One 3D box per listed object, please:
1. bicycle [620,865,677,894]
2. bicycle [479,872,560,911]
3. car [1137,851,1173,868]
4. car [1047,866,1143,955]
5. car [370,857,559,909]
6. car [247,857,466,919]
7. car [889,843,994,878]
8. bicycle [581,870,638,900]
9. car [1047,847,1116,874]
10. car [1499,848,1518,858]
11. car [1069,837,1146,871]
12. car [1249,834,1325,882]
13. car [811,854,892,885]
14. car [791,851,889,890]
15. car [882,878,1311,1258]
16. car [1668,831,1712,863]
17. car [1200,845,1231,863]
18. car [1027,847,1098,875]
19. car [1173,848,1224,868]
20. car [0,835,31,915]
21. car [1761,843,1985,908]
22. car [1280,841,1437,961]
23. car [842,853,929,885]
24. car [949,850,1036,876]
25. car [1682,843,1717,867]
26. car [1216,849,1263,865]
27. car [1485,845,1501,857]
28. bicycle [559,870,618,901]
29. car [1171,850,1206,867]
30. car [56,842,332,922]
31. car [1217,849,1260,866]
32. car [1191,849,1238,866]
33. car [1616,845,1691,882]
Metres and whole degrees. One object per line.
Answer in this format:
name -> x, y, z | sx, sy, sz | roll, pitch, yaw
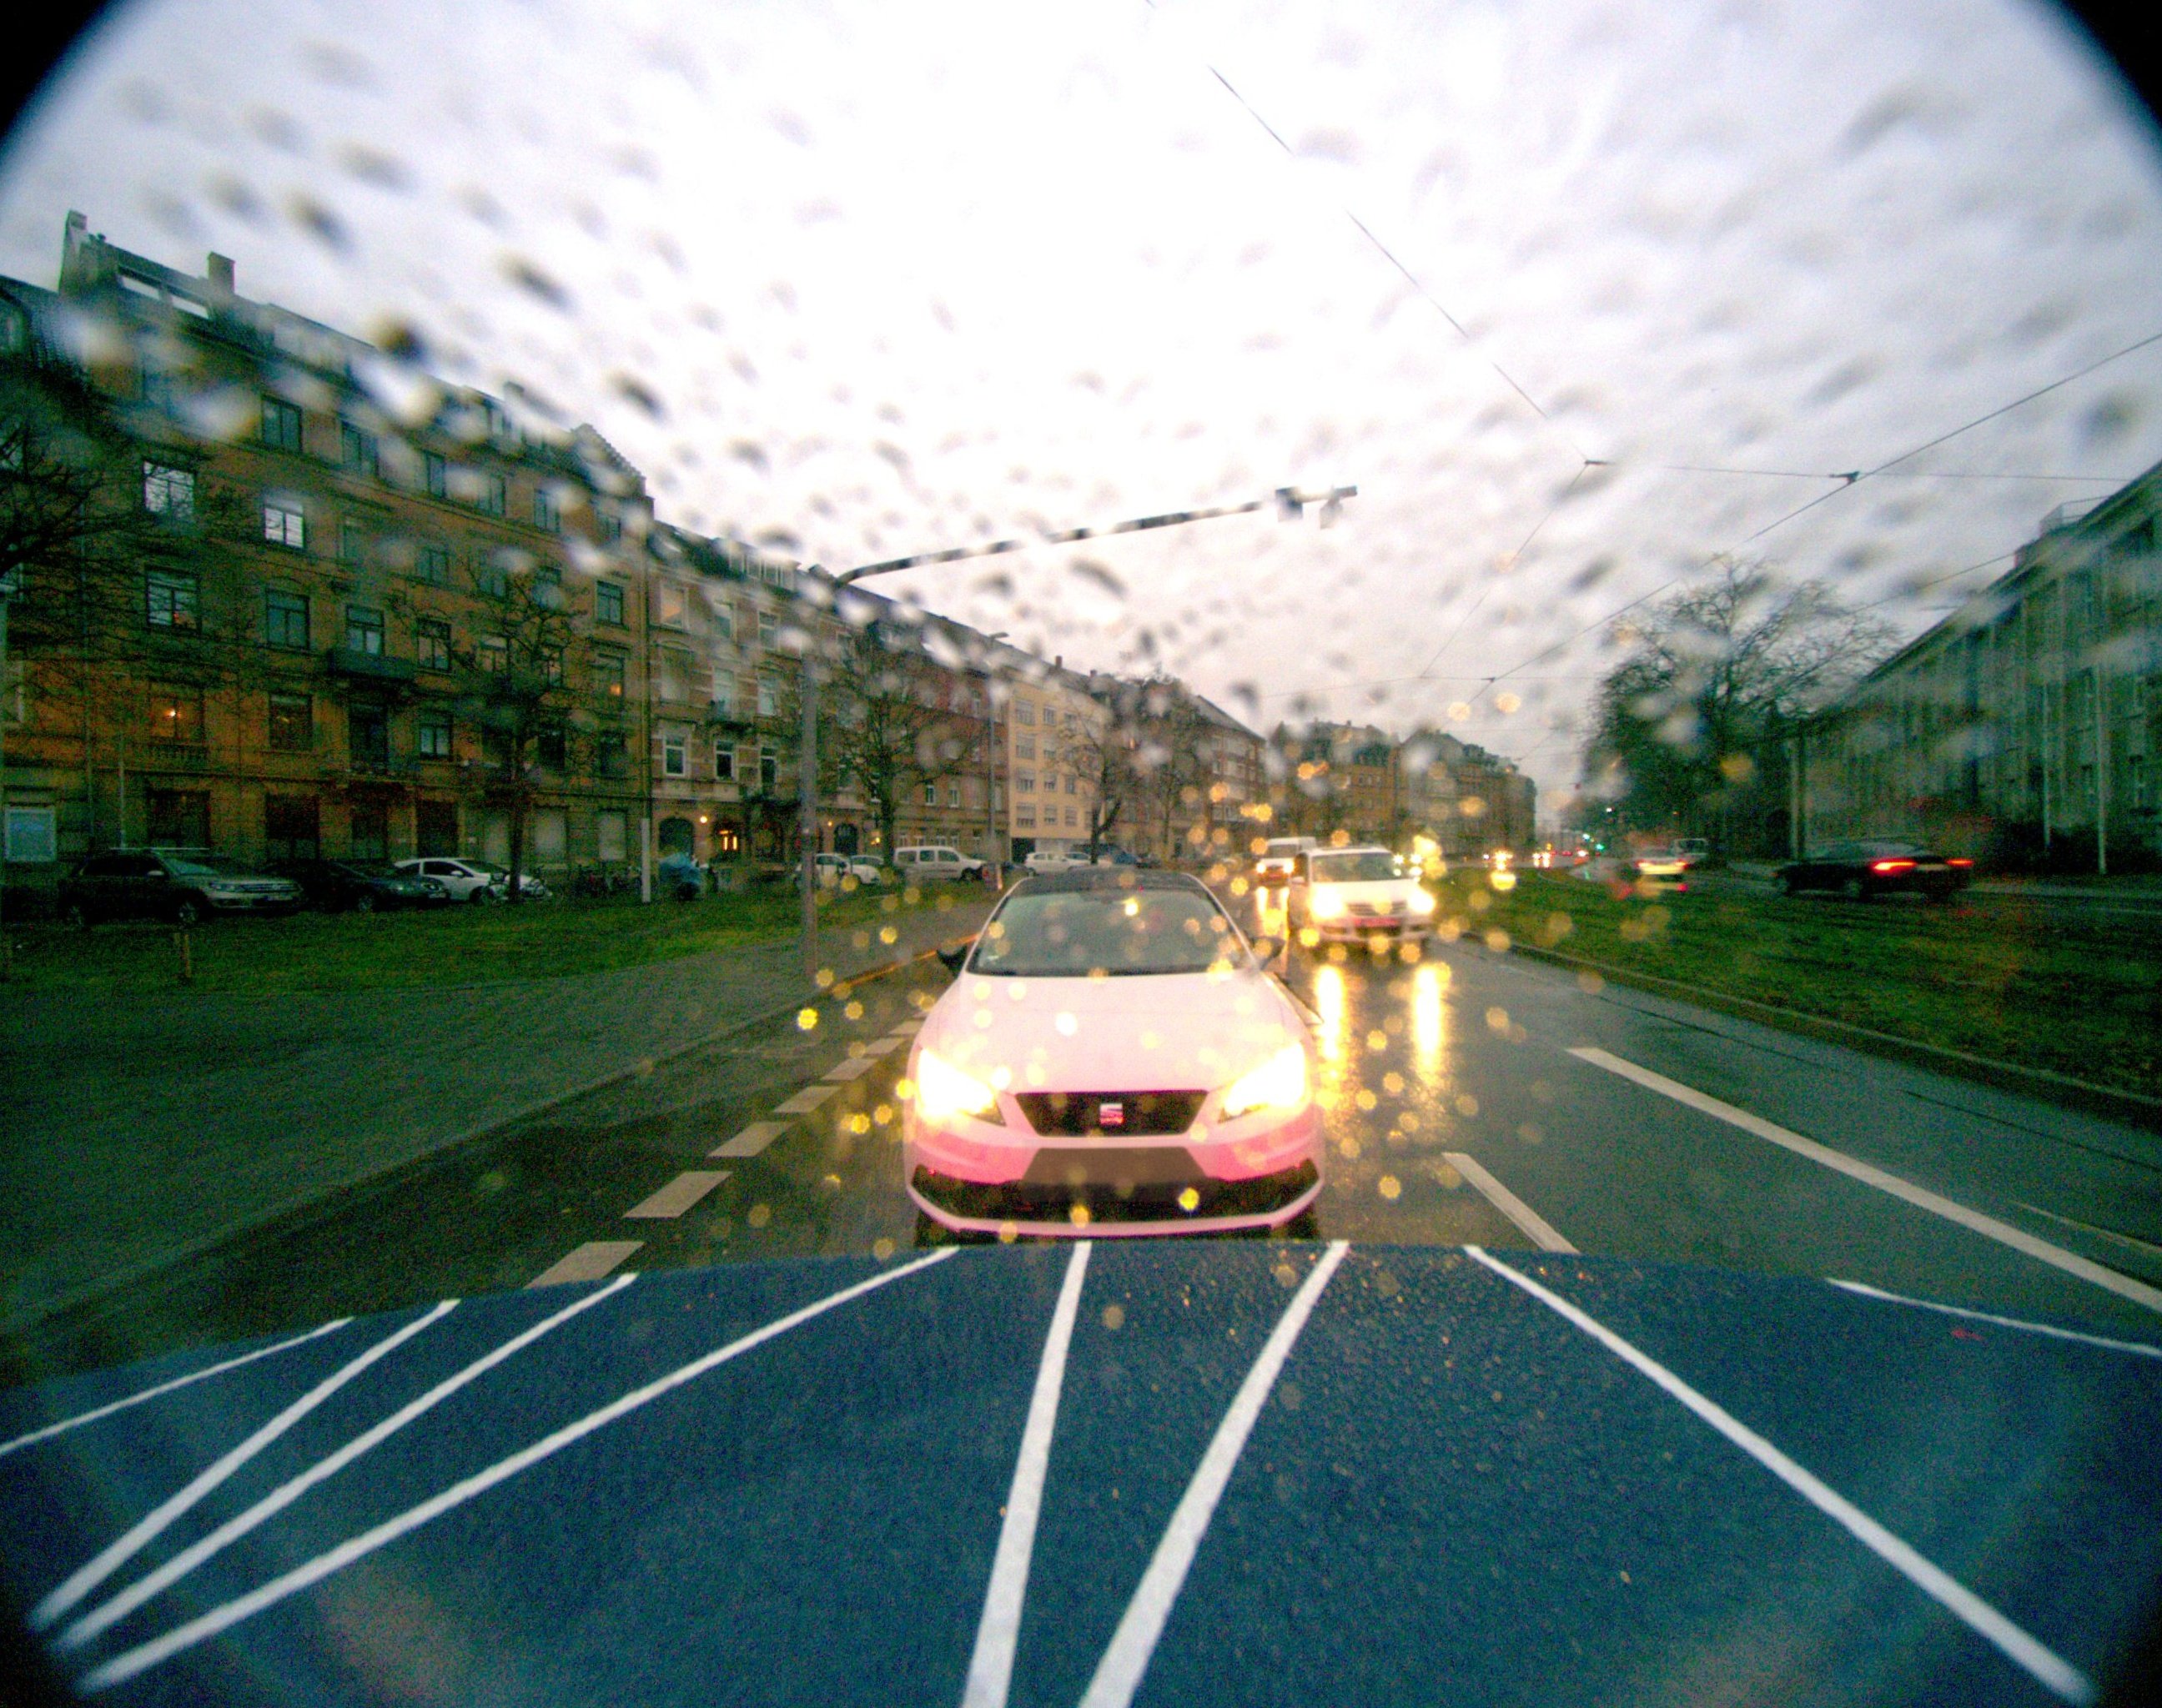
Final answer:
bicycle -> -15.043, 0.877, 26.410 | 2.165, 0.960, 0.627 | 0, 1, 28
bicycle -> -14.421, 0.946, 19.574 | 1.655, 0.931, 0.513 | 0, 0, -35
car -> 6.897, 0.501, 70.571 | 1.470, 1.534, 3.880 | 0, 1, 38
car -> 0.342, 0.981, 14.327 | 1.589, 1.418, 3.135 | -1, 0, 4
car -> -17.118, 0.770, 21.227 | 3.856, 1.329, 1.698 | -1, 0, -1
car -> -17.912, 0.825, 18.916 | 3.742, 1.346, 1.677 | -2, -1, -2
car -> -6.651, 0.307, 36.530 | 4.659, 1.583, 1.778 | 1, 1, 3
bicycle -> -15.815, 1.057, 25.481 | 2.165, 0.960, 0.627 | -2, -2, 28
car -> 0.016, 0.403, 45.811 | 3.998, 1.406, 1.641 | -3, 0, -2
car -> 59.705, -0.166, 106.083 | 1.892, 1.405, 3.955 | 0, 0, 34
car -> 1.663, -0.006, 48.561 | 4.720, 1.971, 1.799 | -2, 0, -2
car -> 11.196, 0.144, 40.998 | 2.125, 2.366, 5.649 | -3, 0, 34
car -> -12.610, 0.829, 42.000 | 1.733, 1.492, 4.058 | -3, -1, 32
car -> -10.008, 0.671, 31.656 | 3.462, 1.435, 1.615 | -2, 0, 6
car -> 0.126, 0.957, 5.001 | 1.715, 1.404, 3.680 | -3, 0, 2
car -> 41.789, -0.526, 52.228 | 1.995, 2.002, 4.518 | -3, 0, 35
car -> 14.263, 0.020, 80.340 | 1.670, 1.693, 3.472 | -3, 0, 40
car -> -1.020, 0.396, 43.725 | 3.770, 1.424, 1.762 | -3, 0, 9
car -> 9.211, 0.321, 59.846 | 3.869, 1.397, 1.695 | -3, 0, 6
car -> -29.114, 0.533, 17.920 | 1.994, 2.002, 4.997 | 1, 1, 34
car -> 20.010, 0.479, 19.535 | 1.659, 1.392, 4.527 | -3, 0, 11
car -> 4.500, 0.682, 12.931 | 1.673, 1.650, 4.151 | -3, 0, 9
car -> -8.756, 0.660, 34.196 | 3.430, 1.343, 1.664 | -2, 0, 2
car -> -4.486, 0.459, 38.765 | 4.058, 1.227, 1.771 | 1, 0, 6
car -> 39.312, 0.056, 48.332 | 1.557, 1.420, 2.960 | -1, 1, 36
car -> 13.676, 0.264, 65.649 | 3.762, 1.271, 1.602 | -1, 0, 5
car -> 58.639, -0.400, 108.068 | 1.719, 1.608, 3.946 | -1, 0, 32
bicycle -> -16.121, 1.044, 24.859 | 2.165, 0.960, 0.627 | -2, -2, 28
car -> 10.738, 0.420, 75.801 | 1.690, 1.534, 4.008 | -3, 0, 38
car -> -19.478, 0.564, 16.819 | 3.996, 1.627, 1.944 | 0, 1, 4
car -> 14.420, 0.328, 69.685 | 3.760, 1.346, 1.603 | -3, 0, 11
car -> 10.987, 0.256, 62.338 | 3.760, 1.325, 1.603 | -1, 1, 11
car -> 25.351, 0.369, 33.804 | 1.822, 1.426, 4.663 | -3, 0, 27
